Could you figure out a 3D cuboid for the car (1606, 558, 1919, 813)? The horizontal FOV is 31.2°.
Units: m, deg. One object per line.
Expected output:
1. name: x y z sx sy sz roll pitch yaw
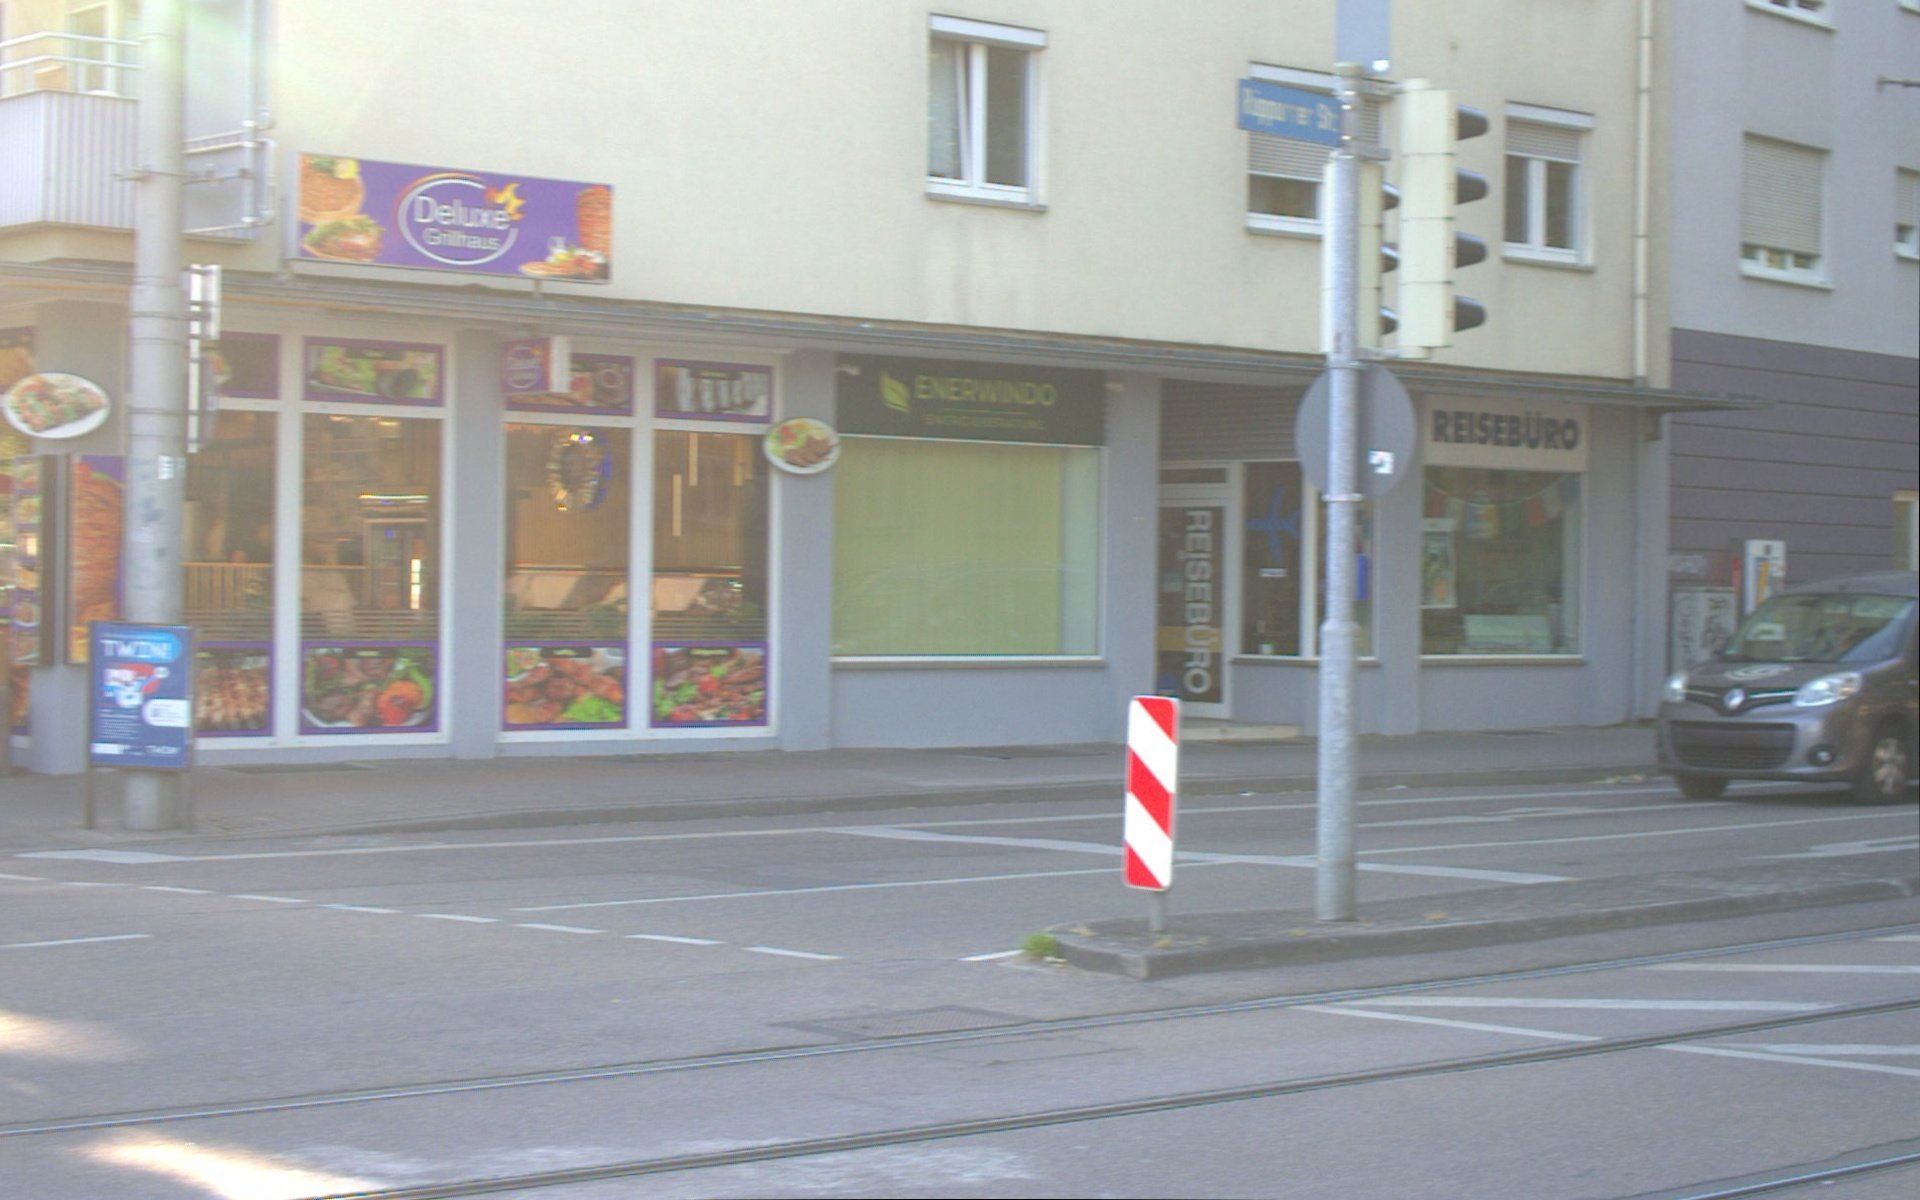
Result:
1. car: 7.050 0.605 26.695 1.914 1.800 4.350 1 1 44
